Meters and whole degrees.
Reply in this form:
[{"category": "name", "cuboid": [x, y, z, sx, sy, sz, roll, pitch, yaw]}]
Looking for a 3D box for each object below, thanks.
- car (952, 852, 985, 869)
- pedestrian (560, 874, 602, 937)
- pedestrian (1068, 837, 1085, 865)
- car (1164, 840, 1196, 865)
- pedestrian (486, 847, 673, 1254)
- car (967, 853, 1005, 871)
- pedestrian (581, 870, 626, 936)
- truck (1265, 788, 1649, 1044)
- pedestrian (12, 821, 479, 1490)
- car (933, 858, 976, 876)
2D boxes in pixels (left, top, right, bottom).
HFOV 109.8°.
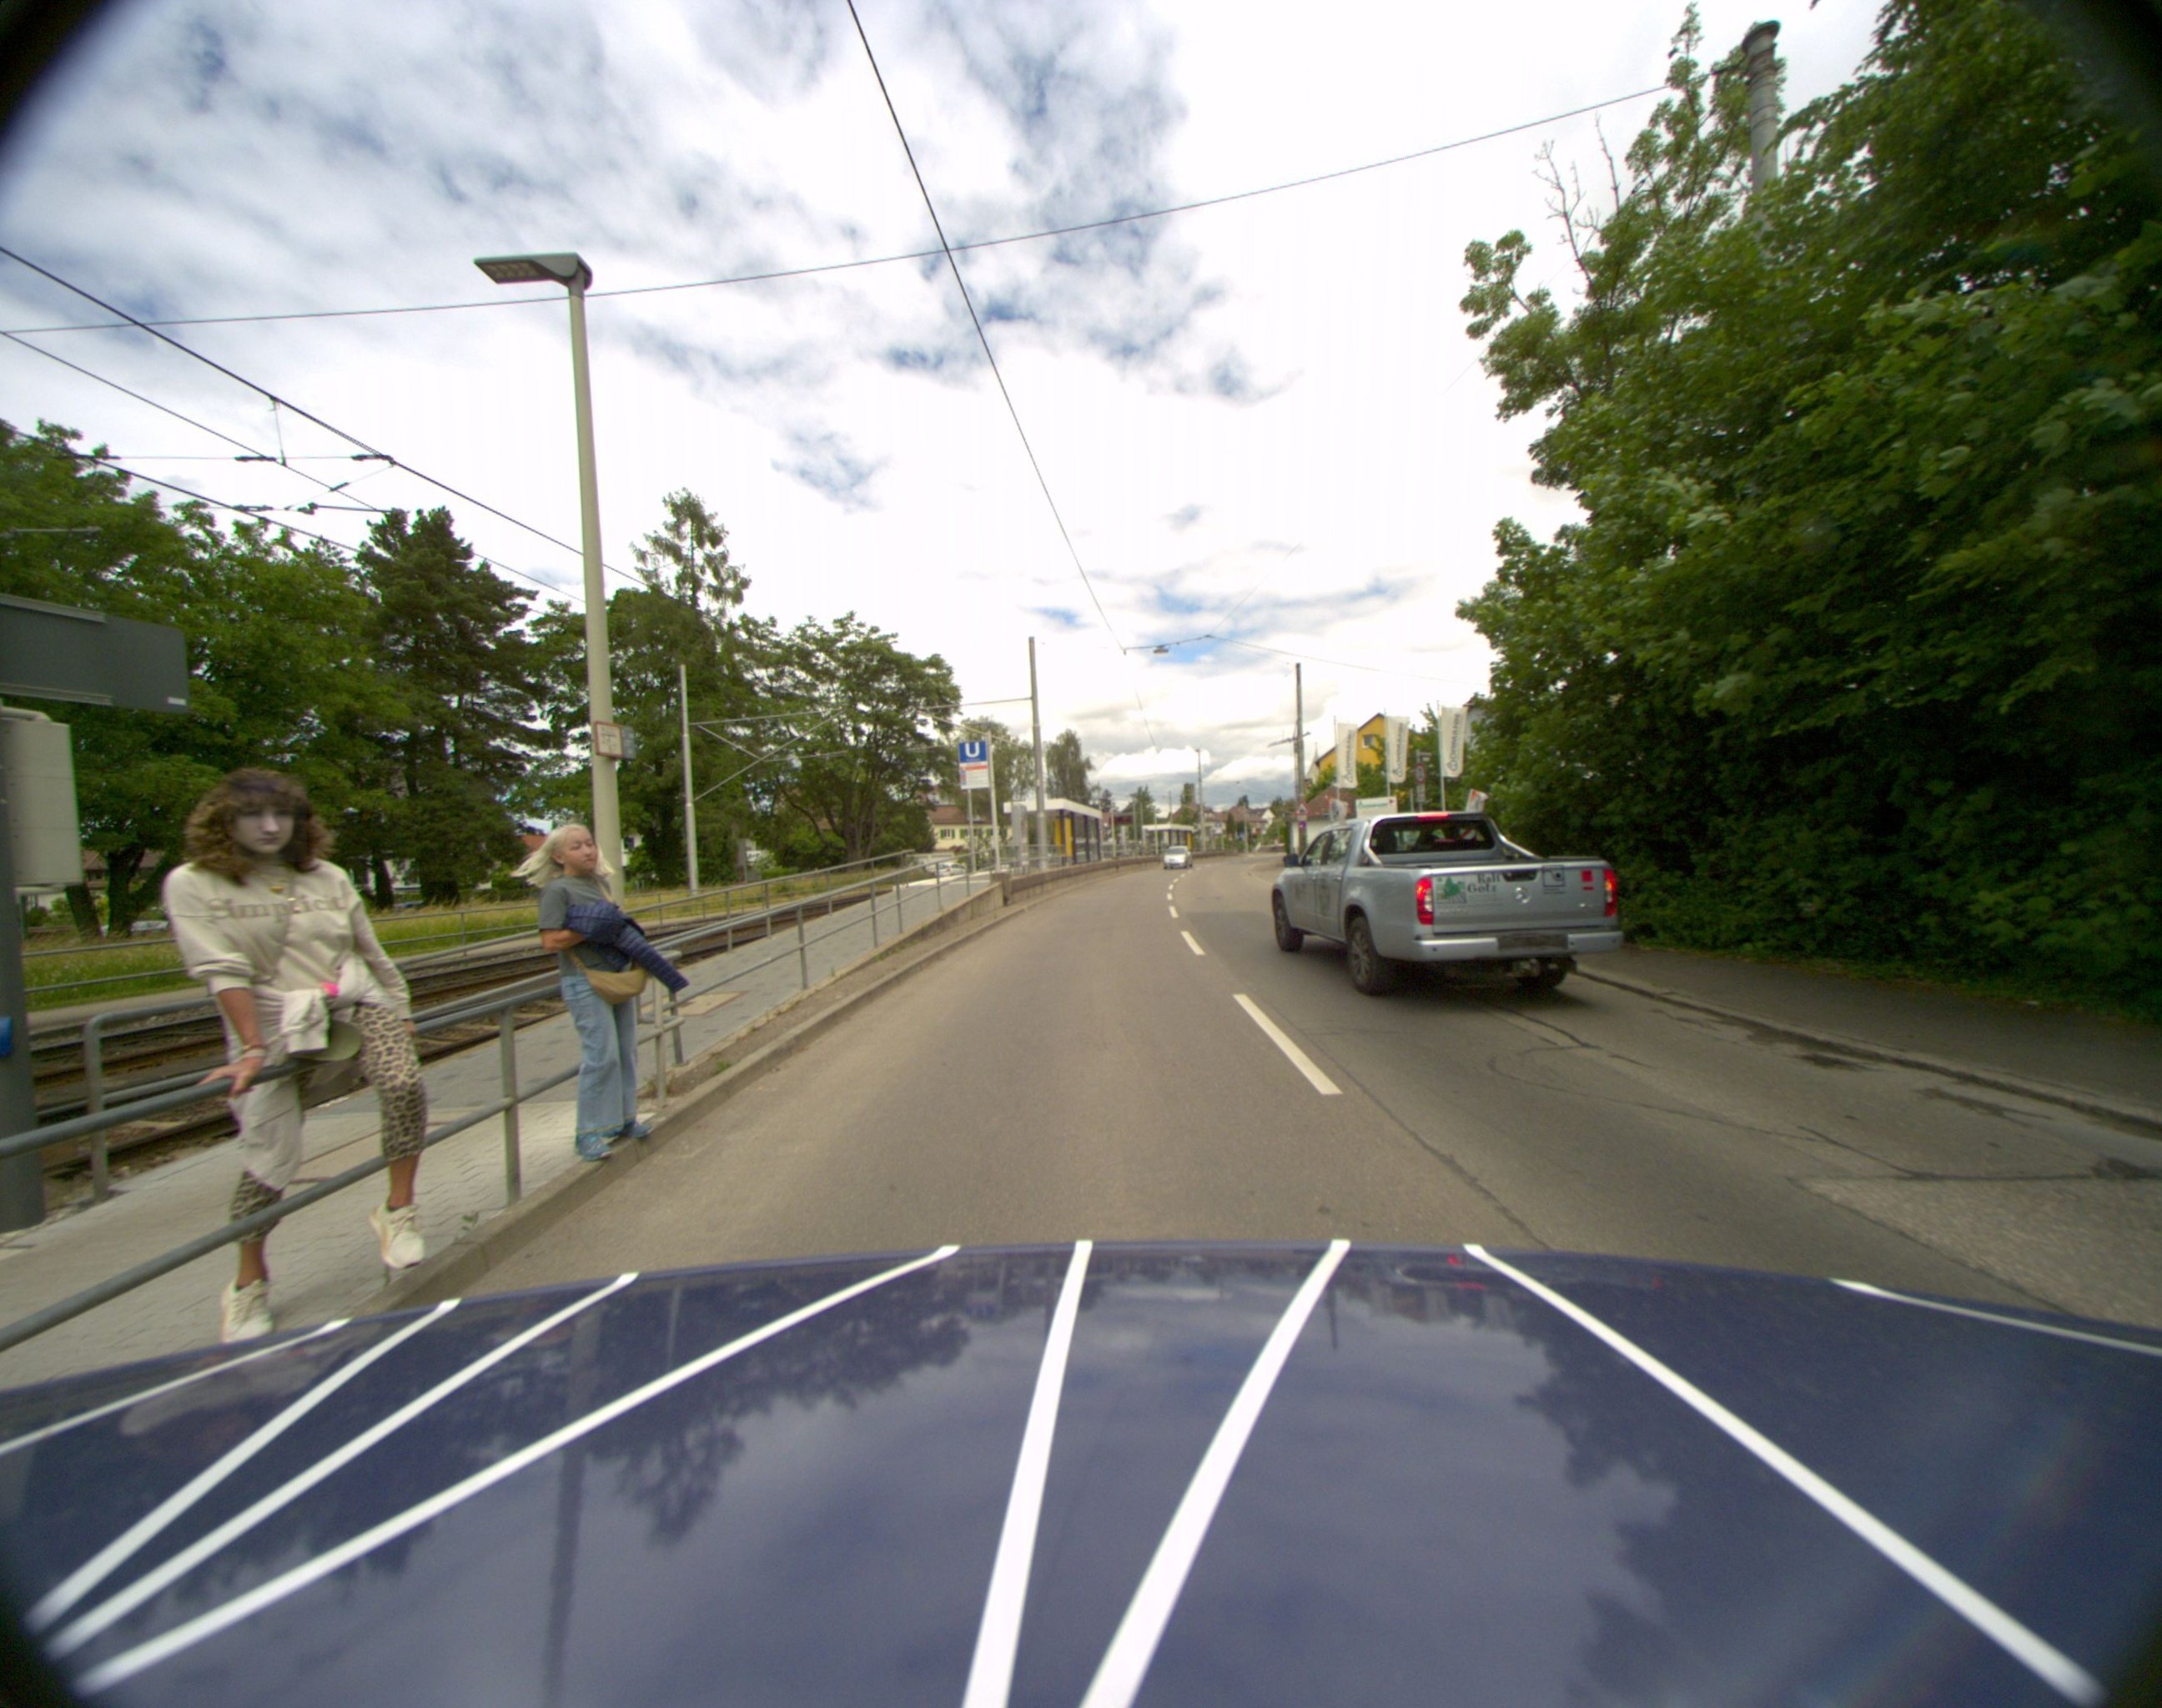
[{"category": "car", "cuboid": [-14.452, 0.836, 97.728, 1.995, 1.851, 4.242, -3, 1, 29]}, {"category": "pedestrian", "cuboid": [-12.994, 1.330, 19.752, 0.493, 1.553, 0.692, -3, 1, 5]}, {"category": "pedestrian", "cuboid": [-0.211, -0.147, 36.255, 0.654, 1.304, 0.692, -3, 1, 11]}, {"category": "car", "cuboid": [7.233, -0.164, 55.209, 1.732, 1.639, 4.230, -3, 1, 14]}, {"category": "pedestrian", "cuboid": [-2.382, 0.851, 3.703, 0.476, 1.720, 0.798, -5, 4, -22]}, {"category": "car", "cuboid": [-8.721, 0.718, 69.843, 1.996, 1.341, 4.004, -3, 0, 15]}, {"category": "pedestrian", "cuboid": [-12.380, 1.257, 19.709, 0.493, 1.613, 0.790, -3, 1, 5]}, {"category": "truck", "cuboid": [3.588, 0.454, 8.506, 1.852, 1.955, 4.957, -3, 1, 1]}, {"category": "pedestrian", "cuboid": [-2.559, 0.830, 2.455, 0.661, 1.830, 0.595, -5, 4, -21]}, {"category": "car", "cuboid": [-10.762, 1.094, 64.926, 1.996, 1.341, 4.004, -3, 0, 15]}]
